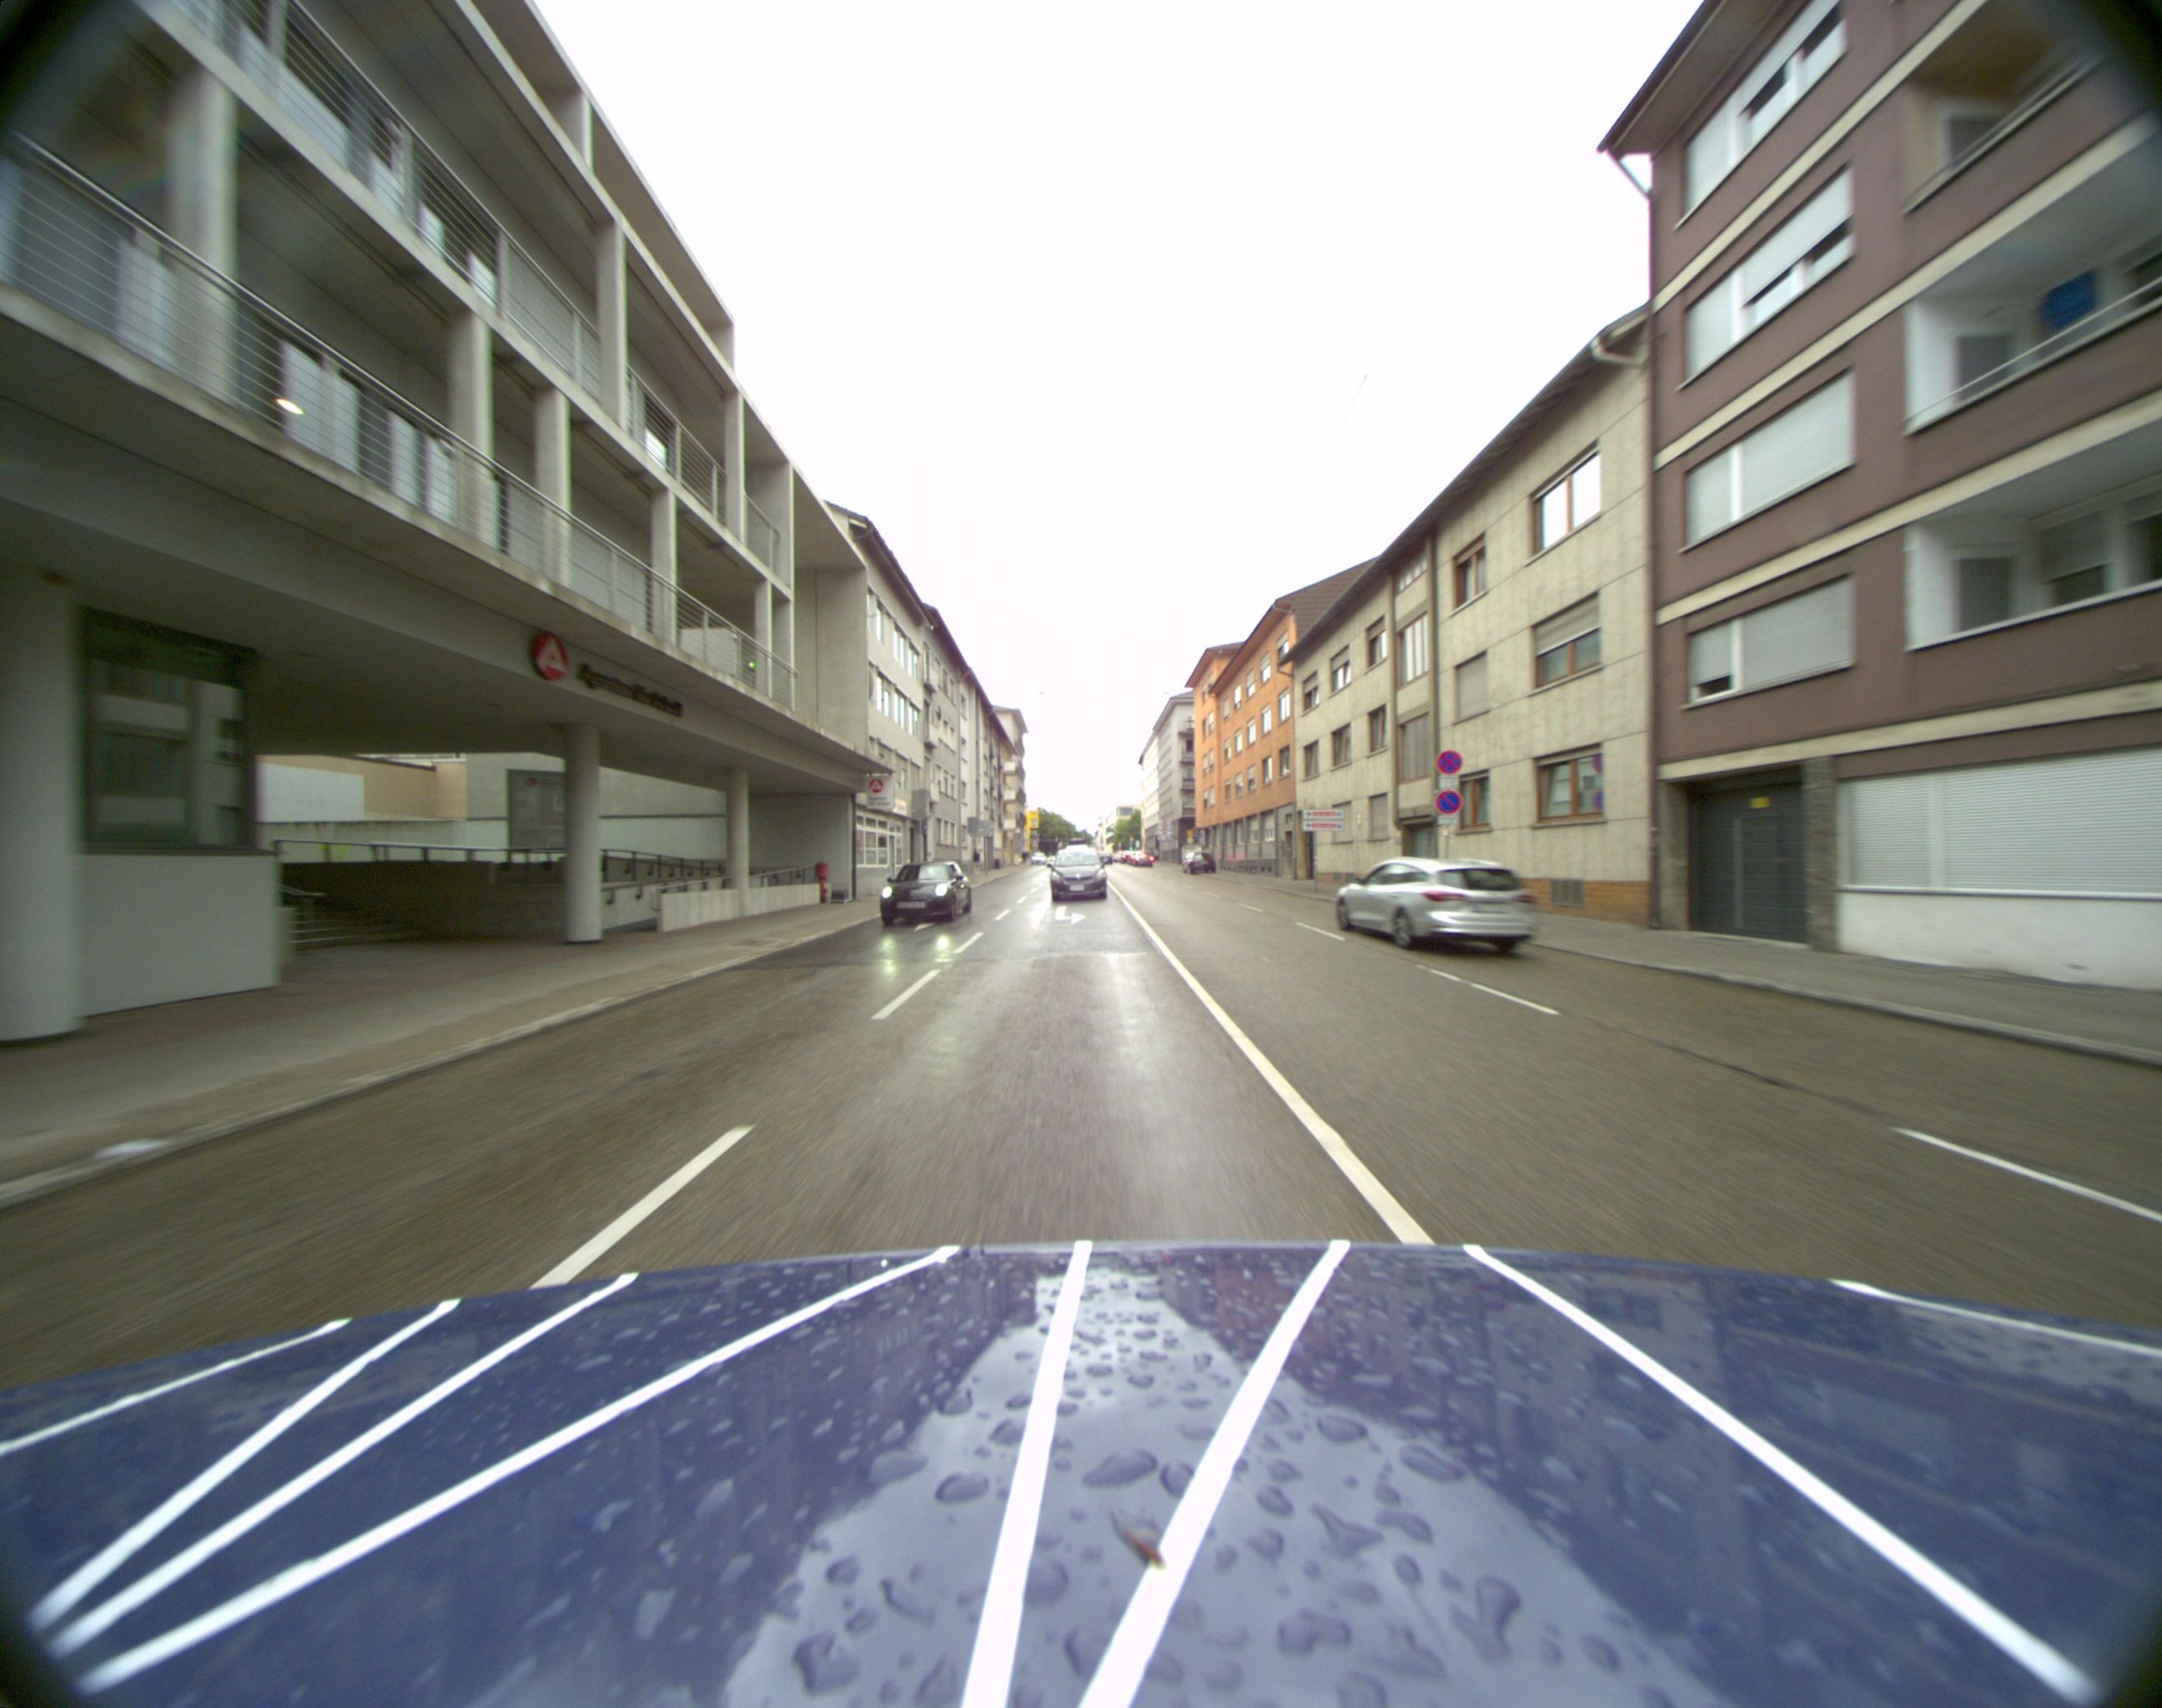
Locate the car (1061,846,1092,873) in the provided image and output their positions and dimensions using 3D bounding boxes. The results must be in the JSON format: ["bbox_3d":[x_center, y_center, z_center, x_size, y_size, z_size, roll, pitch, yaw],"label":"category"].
[{"bbox_3d":[-0.246,0.306,49.463,1.856,1.524,3.792,-4,1,1],"label":"car"}]

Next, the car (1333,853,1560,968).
[{"bbox_3d":[5.898,0.797,12.944,1.776,1.531,4.358,0,1,0],"label":"car"}]

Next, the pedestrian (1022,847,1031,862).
[{"bbox_3d":[-6.361,0.005,88.683,1.119,1.741,0.960,-1,1,-5],"label":"pedestrian"}]

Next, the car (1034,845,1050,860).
[{"bbox_3d":[-4.881,-0.183,95.246,1.856,1.663,4.215,-4,1,-4],"label":"car"}]

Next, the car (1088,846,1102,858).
[{"bbox_3d":[1.863,-0.281,99.991,1.699,1.572,4.216,1,2,0],"label":"car"}]

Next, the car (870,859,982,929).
[{"bbox_3d":[-3.815,0.922,19.438,1.856,1.369,4.217,-4,1,1],"label":"car"}]

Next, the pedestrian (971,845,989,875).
[{"bbox_3d":[-6.399,0.361,48.175,0.871,1.855,1.119,3,2,1],"label":"pedestrian"}]

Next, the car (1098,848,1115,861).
[{"bbox_3d":[2.839,-0.001,85.029,1.603,1.362,4.361,1,1,-1],"label":"car"}]

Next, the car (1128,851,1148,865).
[{"bbox_3d":[5.977,0.390,80.656,1.727,1.464,4.373,1,1,-1],"label":"car"}]

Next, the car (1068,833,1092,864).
[{"bbox_3d":[-0.093,-0.556,73.001,2.033,2.732,4.368,-4,1,1],"label":"car"}]

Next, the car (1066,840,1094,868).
[{"bbox_3d":[-0.031,-0.034,55.964,1.856,1.883,4.217,-4,1,1],"label":"car"}]

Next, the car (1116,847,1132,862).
[{"bbox_3d":[5.714,0.046,101.019,1.856,1.651,4.610,-4,1,1],"label":"car"}]

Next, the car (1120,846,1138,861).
[{"bbox_3d":[5.570,-0.059,88.015,1.699,1.531,4.435,3,1,0],"label":"car"}]

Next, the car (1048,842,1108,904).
[{"bbox_3d":[-0.053,0.543,25.048,1.699,1.712,4.217,-4,1,1],"label":"car"}]

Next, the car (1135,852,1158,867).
[{"bbox_3d":[6.372,0.514,74.112,1.699,1.362,4.364,1,1,-1],"label":"car"}]

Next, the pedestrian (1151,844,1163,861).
[{"bbox_3d":[9.684,-0.209,97.183,1.309,2.002,1.258,-4,2,1],"label":"pedestrian"}]

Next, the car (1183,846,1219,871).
[{"bbox_3d":[8.305,0.293,52.827,1.799,1.466,4.217,-4,1,1],"label":"car"}]
